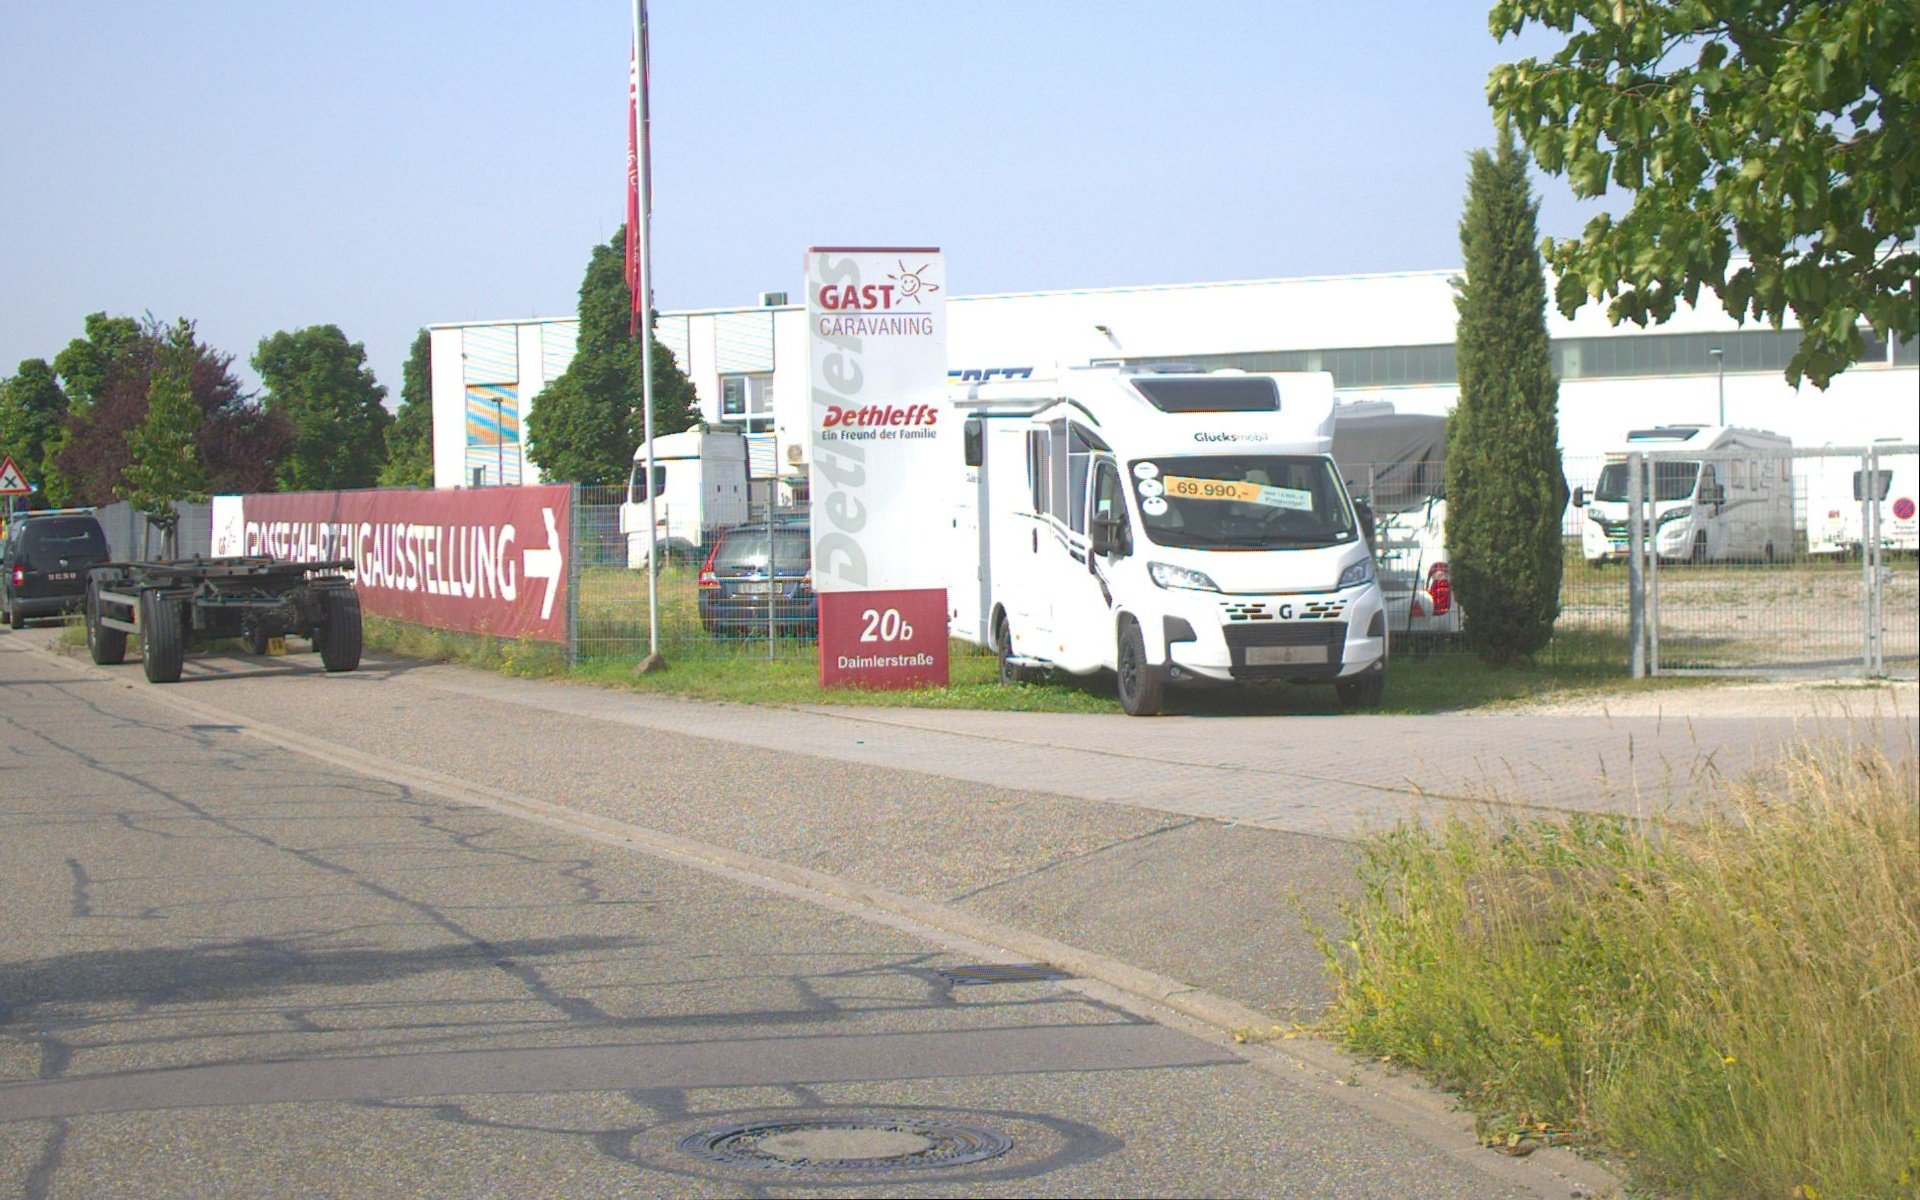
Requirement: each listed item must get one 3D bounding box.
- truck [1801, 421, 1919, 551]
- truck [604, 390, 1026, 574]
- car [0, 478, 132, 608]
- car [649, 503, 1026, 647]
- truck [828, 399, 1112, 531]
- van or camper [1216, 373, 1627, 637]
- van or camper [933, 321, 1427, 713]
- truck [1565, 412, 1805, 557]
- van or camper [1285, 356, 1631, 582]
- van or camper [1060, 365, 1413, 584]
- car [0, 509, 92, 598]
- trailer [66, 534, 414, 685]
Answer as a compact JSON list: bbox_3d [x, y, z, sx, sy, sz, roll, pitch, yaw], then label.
[{"bbox_3d":[17.691,-2.154,63.747,2.454,2.257,7.992,0,2,26],"label":"truck"},{"bbox_3d":[-3.307,-2.636,77.662,9.295,3.958,2.456,0,2,23],"label":"truck"},{"bbox_3d":[-15.185,-1.003,58.083,1.818,1.971,4.002,-5,4,-19],"label":"car"},{"bbox_3d":[-1.361,-0.315,39.458,2.171,1.471,3.991,0,3,40],"label":"car"},{"bbox_3d":[0.324,-2.722,68.918,2.454,2.462,7.992,0,2,26],"label":"truck"},{"bbox_3d":[5.086,-1.076,36.756,2.486,2.550,6.618,0,3,25],"label":"van or camper"},{"bbox_3d":[1.672,-0.756,29.614,2.330,2.933,6.974,-2,2,-13],"label":"van or camper"},{"bbox_3d":[13.361,-2.149,62.854,2.454,2.462,7.992,0,2,26],"label":"truck"},{"bbox_3d":[7.536,-1.973,50.942,2.953,3.073,7.961,0,3,24],"label":"van or camper"},{"bbox_3d":[4.370,-1.955,52.375,2.802,3.073,7.961,0,3,24],"label":"van or camper"},{"bbox_3d":[-17.126,-0.872,63.265,1.818,1.444,3.802,-5,4,-19],"label":"car"},{"bbox_3d":[-8.887,0.010,41.457,2.623,1.383,9.457,-4,3,-20],"label":"trailer"}]
